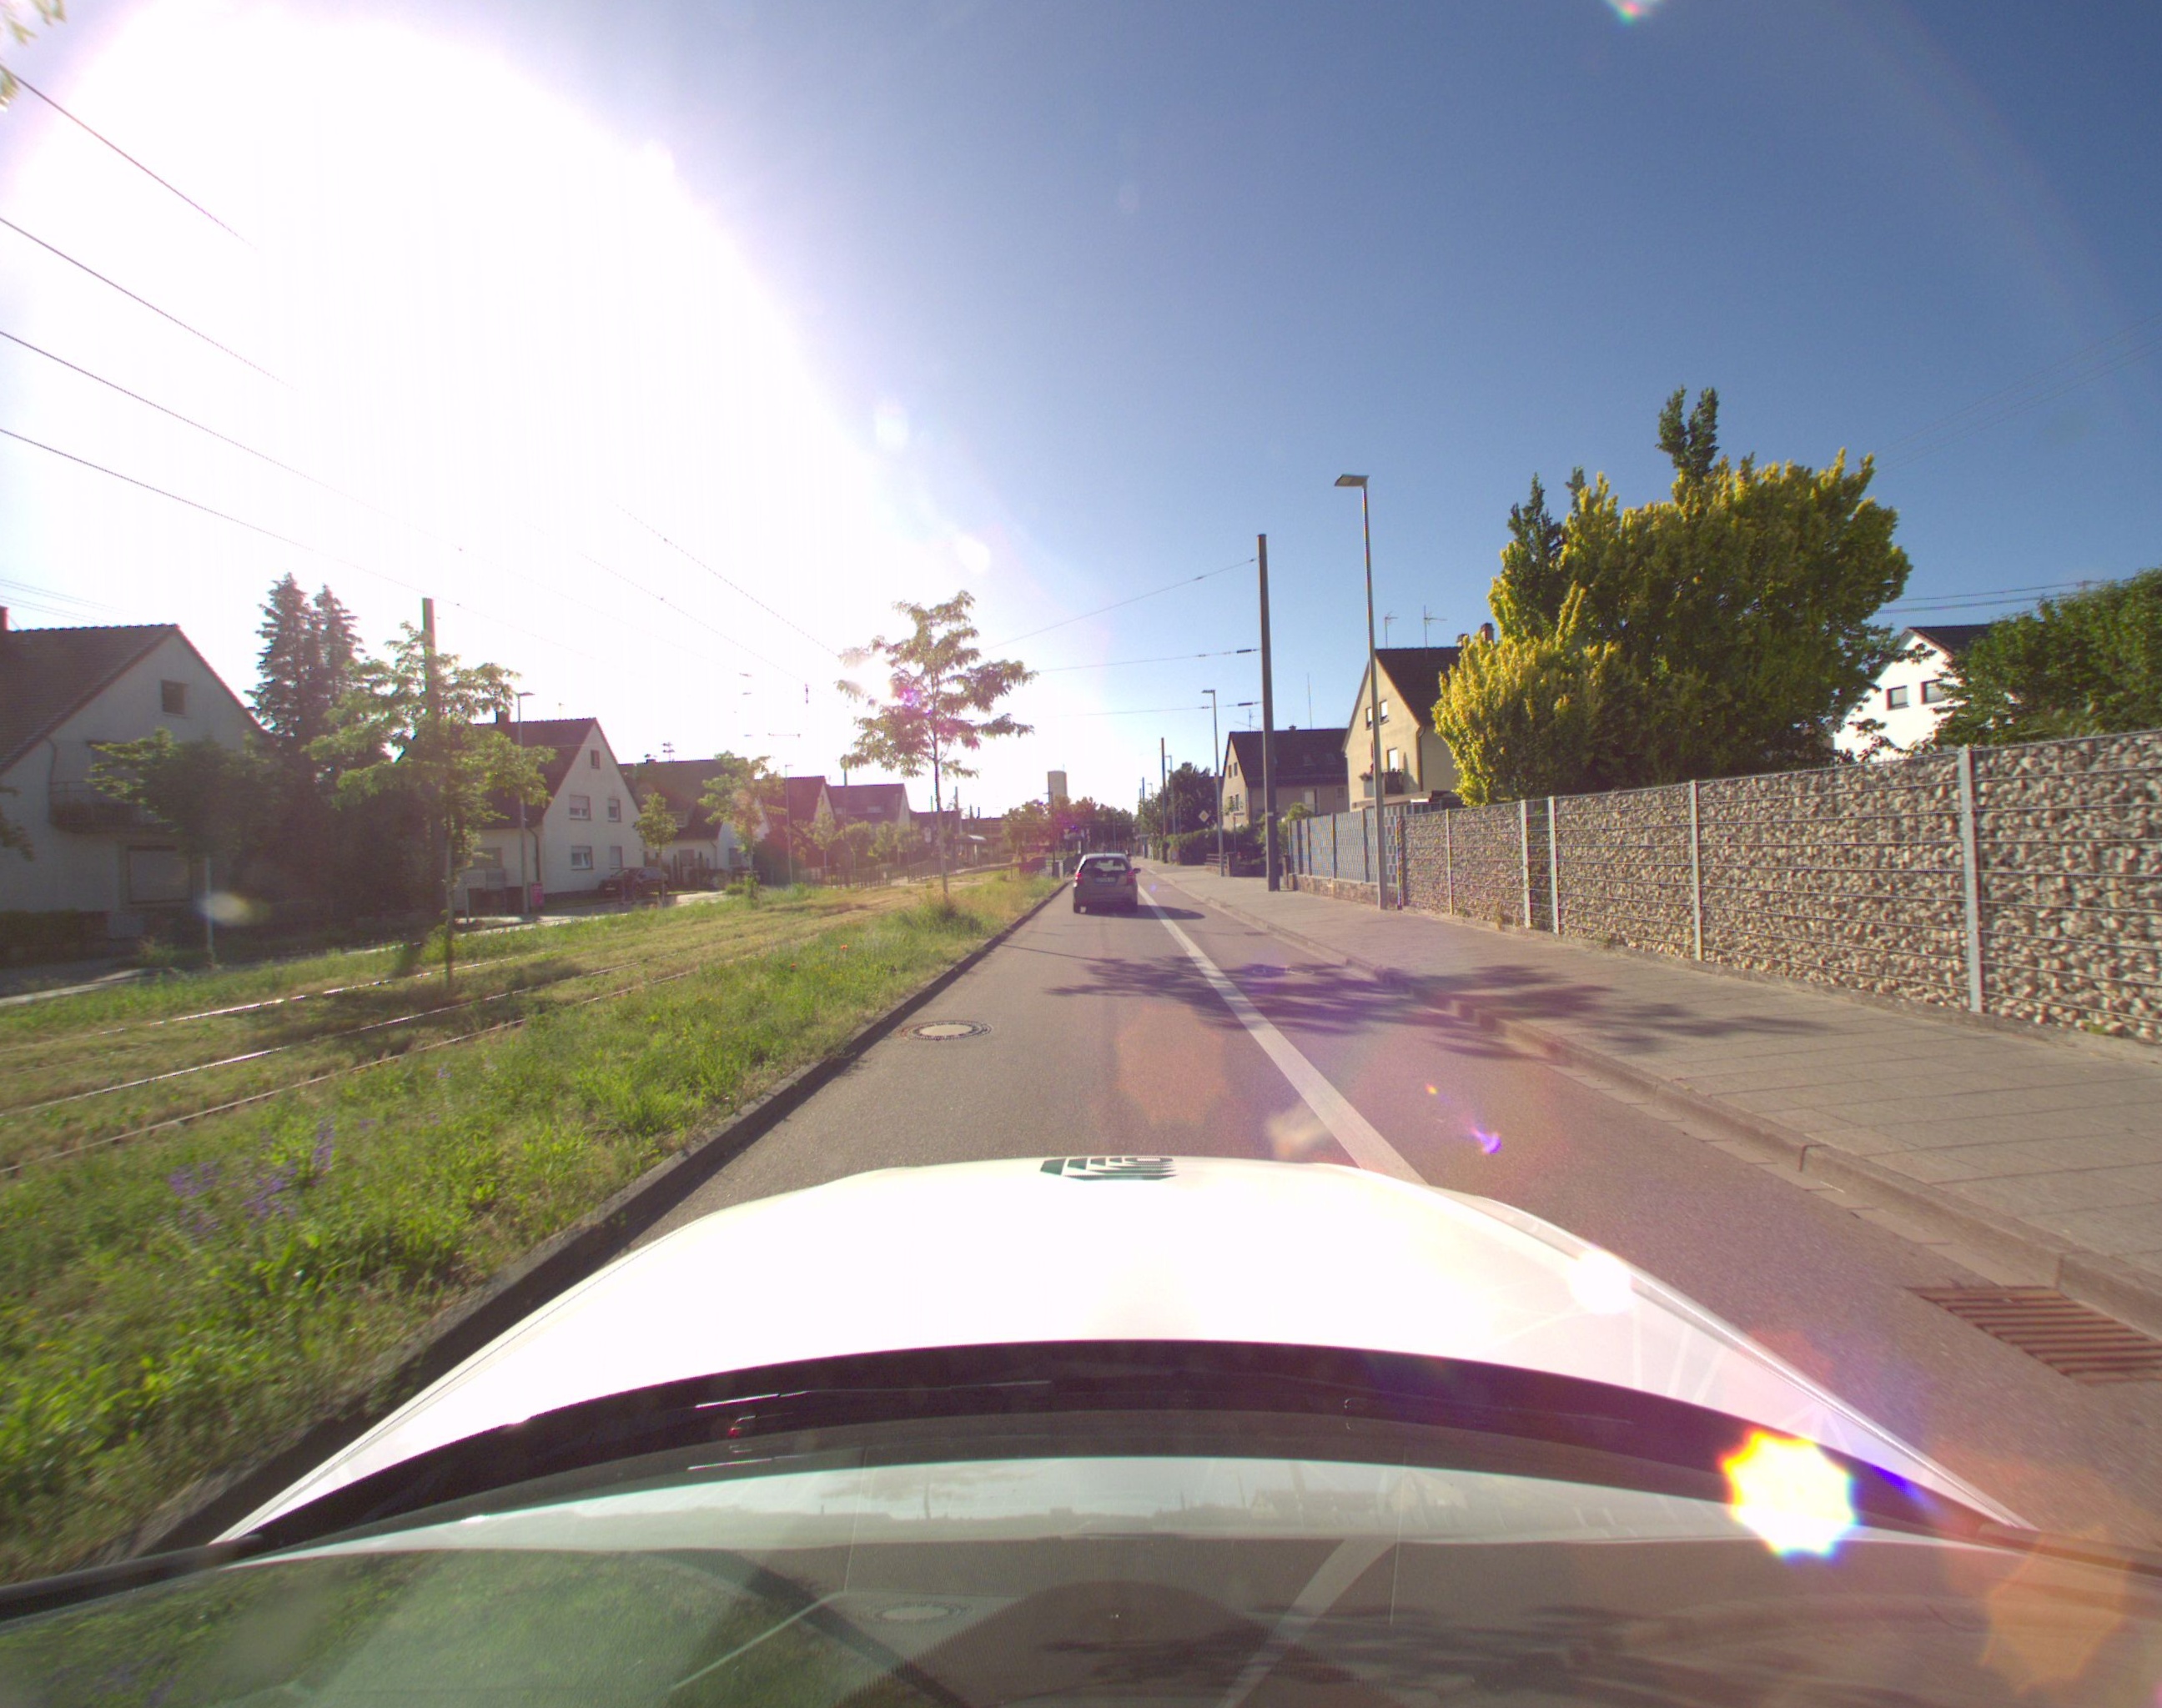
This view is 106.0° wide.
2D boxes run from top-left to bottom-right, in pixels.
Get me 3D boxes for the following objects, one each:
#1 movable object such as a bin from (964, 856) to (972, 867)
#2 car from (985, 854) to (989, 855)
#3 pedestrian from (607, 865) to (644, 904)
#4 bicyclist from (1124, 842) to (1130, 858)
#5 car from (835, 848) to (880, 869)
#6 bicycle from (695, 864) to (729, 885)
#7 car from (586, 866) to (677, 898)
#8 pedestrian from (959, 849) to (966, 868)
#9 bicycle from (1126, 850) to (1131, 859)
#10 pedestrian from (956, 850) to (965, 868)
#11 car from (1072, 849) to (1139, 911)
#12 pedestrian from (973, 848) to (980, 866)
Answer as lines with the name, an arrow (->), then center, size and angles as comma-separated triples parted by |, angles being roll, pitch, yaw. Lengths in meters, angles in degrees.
movable object such as a bin -> -9.959, 0.646, 71.909 | 0.545, 0.988, 0.741 | -2, 0, -2
car -> -18.944, 0.122, 163.634 | 0.695, 0.336, 0.330 | -1, -1, 6
pedestrian -> -20.233, 1.330, 36.188 | 0.961, 1.640, 1.086 | -2, 0, 1
bicyclist -> 4.873, -0.417, 85.394 | 0.596, 1.701, 0.684 | -1, -1, 2
car -> -22.069, 0.430, 80.421 | 3.982, 1.970, 1.929 | -1, -1, -6
bicycle -> -25.355, 1.429, 55.990 | 1.985, 1.365, 0.704 | -2, 0, -5
car -> -24.292, 1.469, 44.265 | 1.927, 1.450, 5.165 | -2, 0, 2
pedestrian -> -10.706, 0.439, 73.570 | 0.518, 1.708, 0.580 | -2, 0, -3
bicycle -> 4.954, 0.070, 85.616 | 0.473, 0.961, 1.658 | -1, -1, 2
pedestrian -> -10.618, 0.435, 71.891 | 0.673, 1.535, 0.748 | -2, 0, -3
car -> 0.647, 0.663, 22.060 | 1.664, 1.535, 3.487 | 0, 0, 1
pedestrian -> -10.385, 0.277, 80.856 | 0.498, 1.696, 0.772 | -4, 0, 2
